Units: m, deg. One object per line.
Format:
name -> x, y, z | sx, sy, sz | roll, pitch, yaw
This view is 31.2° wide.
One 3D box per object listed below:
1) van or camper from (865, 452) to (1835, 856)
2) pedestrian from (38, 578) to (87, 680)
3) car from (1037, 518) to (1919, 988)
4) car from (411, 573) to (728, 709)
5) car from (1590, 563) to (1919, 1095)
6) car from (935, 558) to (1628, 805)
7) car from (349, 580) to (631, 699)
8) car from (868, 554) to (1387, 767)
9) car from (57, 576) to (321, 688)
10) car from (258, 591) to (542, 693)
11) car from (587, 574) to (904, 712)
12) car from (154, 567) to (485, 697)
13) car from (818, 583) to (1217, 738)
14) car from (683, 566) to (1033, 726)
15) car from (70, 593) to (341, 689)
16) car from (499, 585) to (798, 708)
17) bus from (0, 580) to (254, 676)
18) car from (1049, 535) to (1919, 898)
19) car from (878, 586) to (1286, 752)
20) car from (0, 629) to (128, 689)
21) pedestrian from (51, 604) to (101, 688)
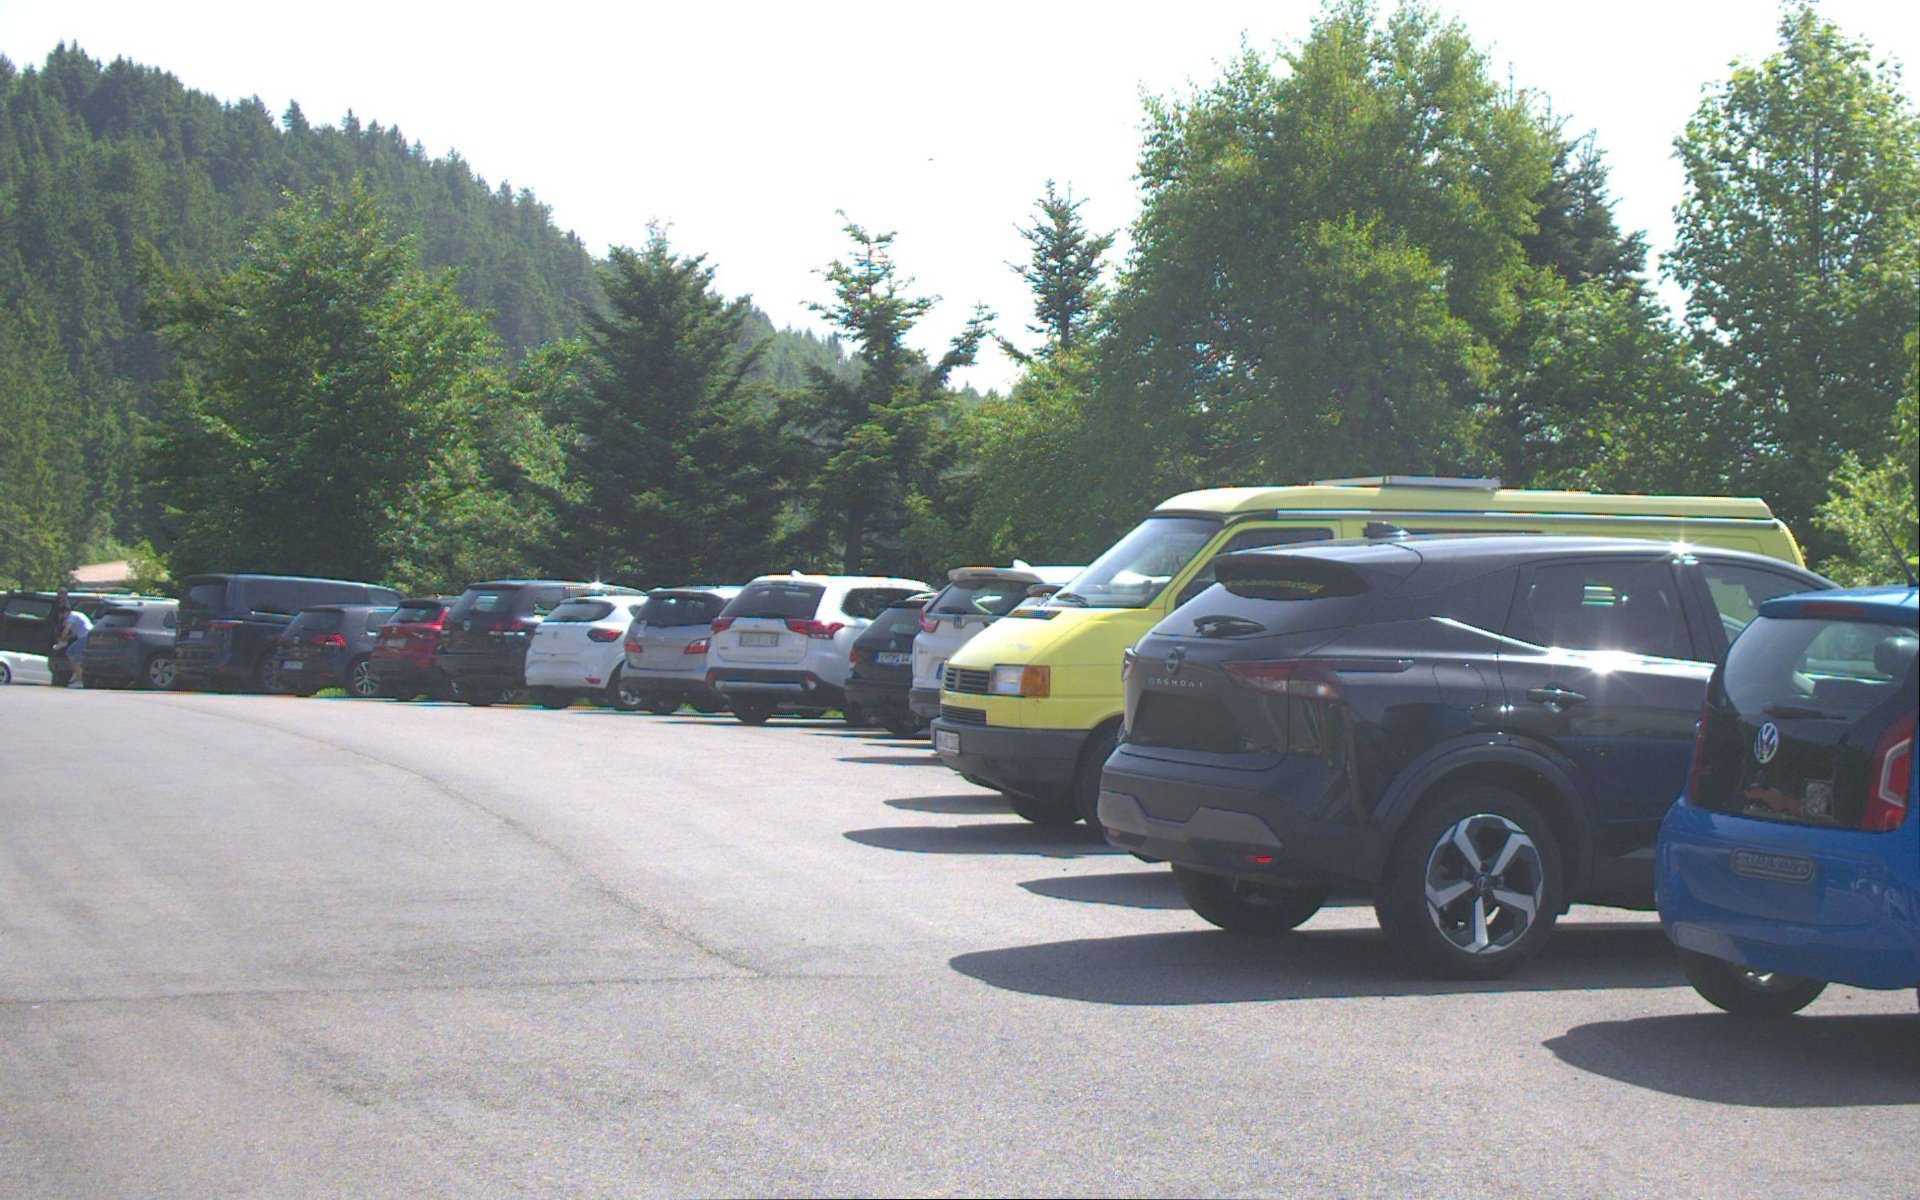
van or camper -> 2.202, 0.318, 19.624 | 5.088, 2.007, 1.883 | 3, 0, -17
pedestrian -> -15.821, 0.514, 60.585 | 0.579, 1.755, 0.633 | 2, -2, 4
car -> 2.526, 0.542, 13.432 | 3.986, 1.608, 1.917 | 1, 0, -24
car -> -5.286, 0.585, 47.062 | 1.988, 1.689, 4.265 | 1, -1, 33
car -> 4.066, 0.706, 11.115 | 3.579, 1.490, 1.648 | 2, 1, -18
car -> 2.193, 0.499, 23.489 | 4.349, 1.482, 1.813 | -1, 1, -22
car -> -6.829, 0.596, 50.323 | 1.861, 1.584, 3.992 | 1, -1, 34
car -> 1.473, 0.532, 29.331 | 4.172, 1.644, 1.891 | 3, -1, -39
car -> -13.541, 0.577, 60.528 | 1.999, 1.656, 3.989 | 0, -4, 44
car -> -8.523, 0.653, 52.517 | 1.743, 1.410, 3.989 | 1, -2, 44
car -> -2.597, 0.554, 42.508 | 1.818, 1.544, 3.992 | 1, -1, 34
car -> -10.198, 0.523, 54.882 | 4.758, 1.873, 1.966 | 3, -1, -38
car -> 0.646, 0.653, 35.754 | 1.893, 1.456, 4.041 | 1, -2, 43
car -> -1.099, 0.542, 39.201 | 1.861, 1.689, 4.218 | 1, -1, 34
car -> -12.619, 0.700, 57.587 | 3.988, 1.438, 1.839 | 3, -2, -40
car -> -4.056, 0.627, 45.324 | 1.765, 1.471, 3.992 | 1, -1, 34
bus -> -34.509, 1.068, 135.226 | 12.859, 3.566, 2.982 | 1, 1, -2
car -> 2.677, 0.537, 16.359 | 4.149, 1.583, 1.705 | 1, 0, -16
car -> 1.217, 0.684, 33.212 | 3.795, 1.454, 1.662 | 3, -1, -42
car -> -23.741, 1.457, 87.849 | 4.453, 1.294, 1.582 | 5, -3, -35
pedestrian -> -15.057, 0.773, 58.586 | 0.773, 1.398, 0.669 | -1, 1, -13
